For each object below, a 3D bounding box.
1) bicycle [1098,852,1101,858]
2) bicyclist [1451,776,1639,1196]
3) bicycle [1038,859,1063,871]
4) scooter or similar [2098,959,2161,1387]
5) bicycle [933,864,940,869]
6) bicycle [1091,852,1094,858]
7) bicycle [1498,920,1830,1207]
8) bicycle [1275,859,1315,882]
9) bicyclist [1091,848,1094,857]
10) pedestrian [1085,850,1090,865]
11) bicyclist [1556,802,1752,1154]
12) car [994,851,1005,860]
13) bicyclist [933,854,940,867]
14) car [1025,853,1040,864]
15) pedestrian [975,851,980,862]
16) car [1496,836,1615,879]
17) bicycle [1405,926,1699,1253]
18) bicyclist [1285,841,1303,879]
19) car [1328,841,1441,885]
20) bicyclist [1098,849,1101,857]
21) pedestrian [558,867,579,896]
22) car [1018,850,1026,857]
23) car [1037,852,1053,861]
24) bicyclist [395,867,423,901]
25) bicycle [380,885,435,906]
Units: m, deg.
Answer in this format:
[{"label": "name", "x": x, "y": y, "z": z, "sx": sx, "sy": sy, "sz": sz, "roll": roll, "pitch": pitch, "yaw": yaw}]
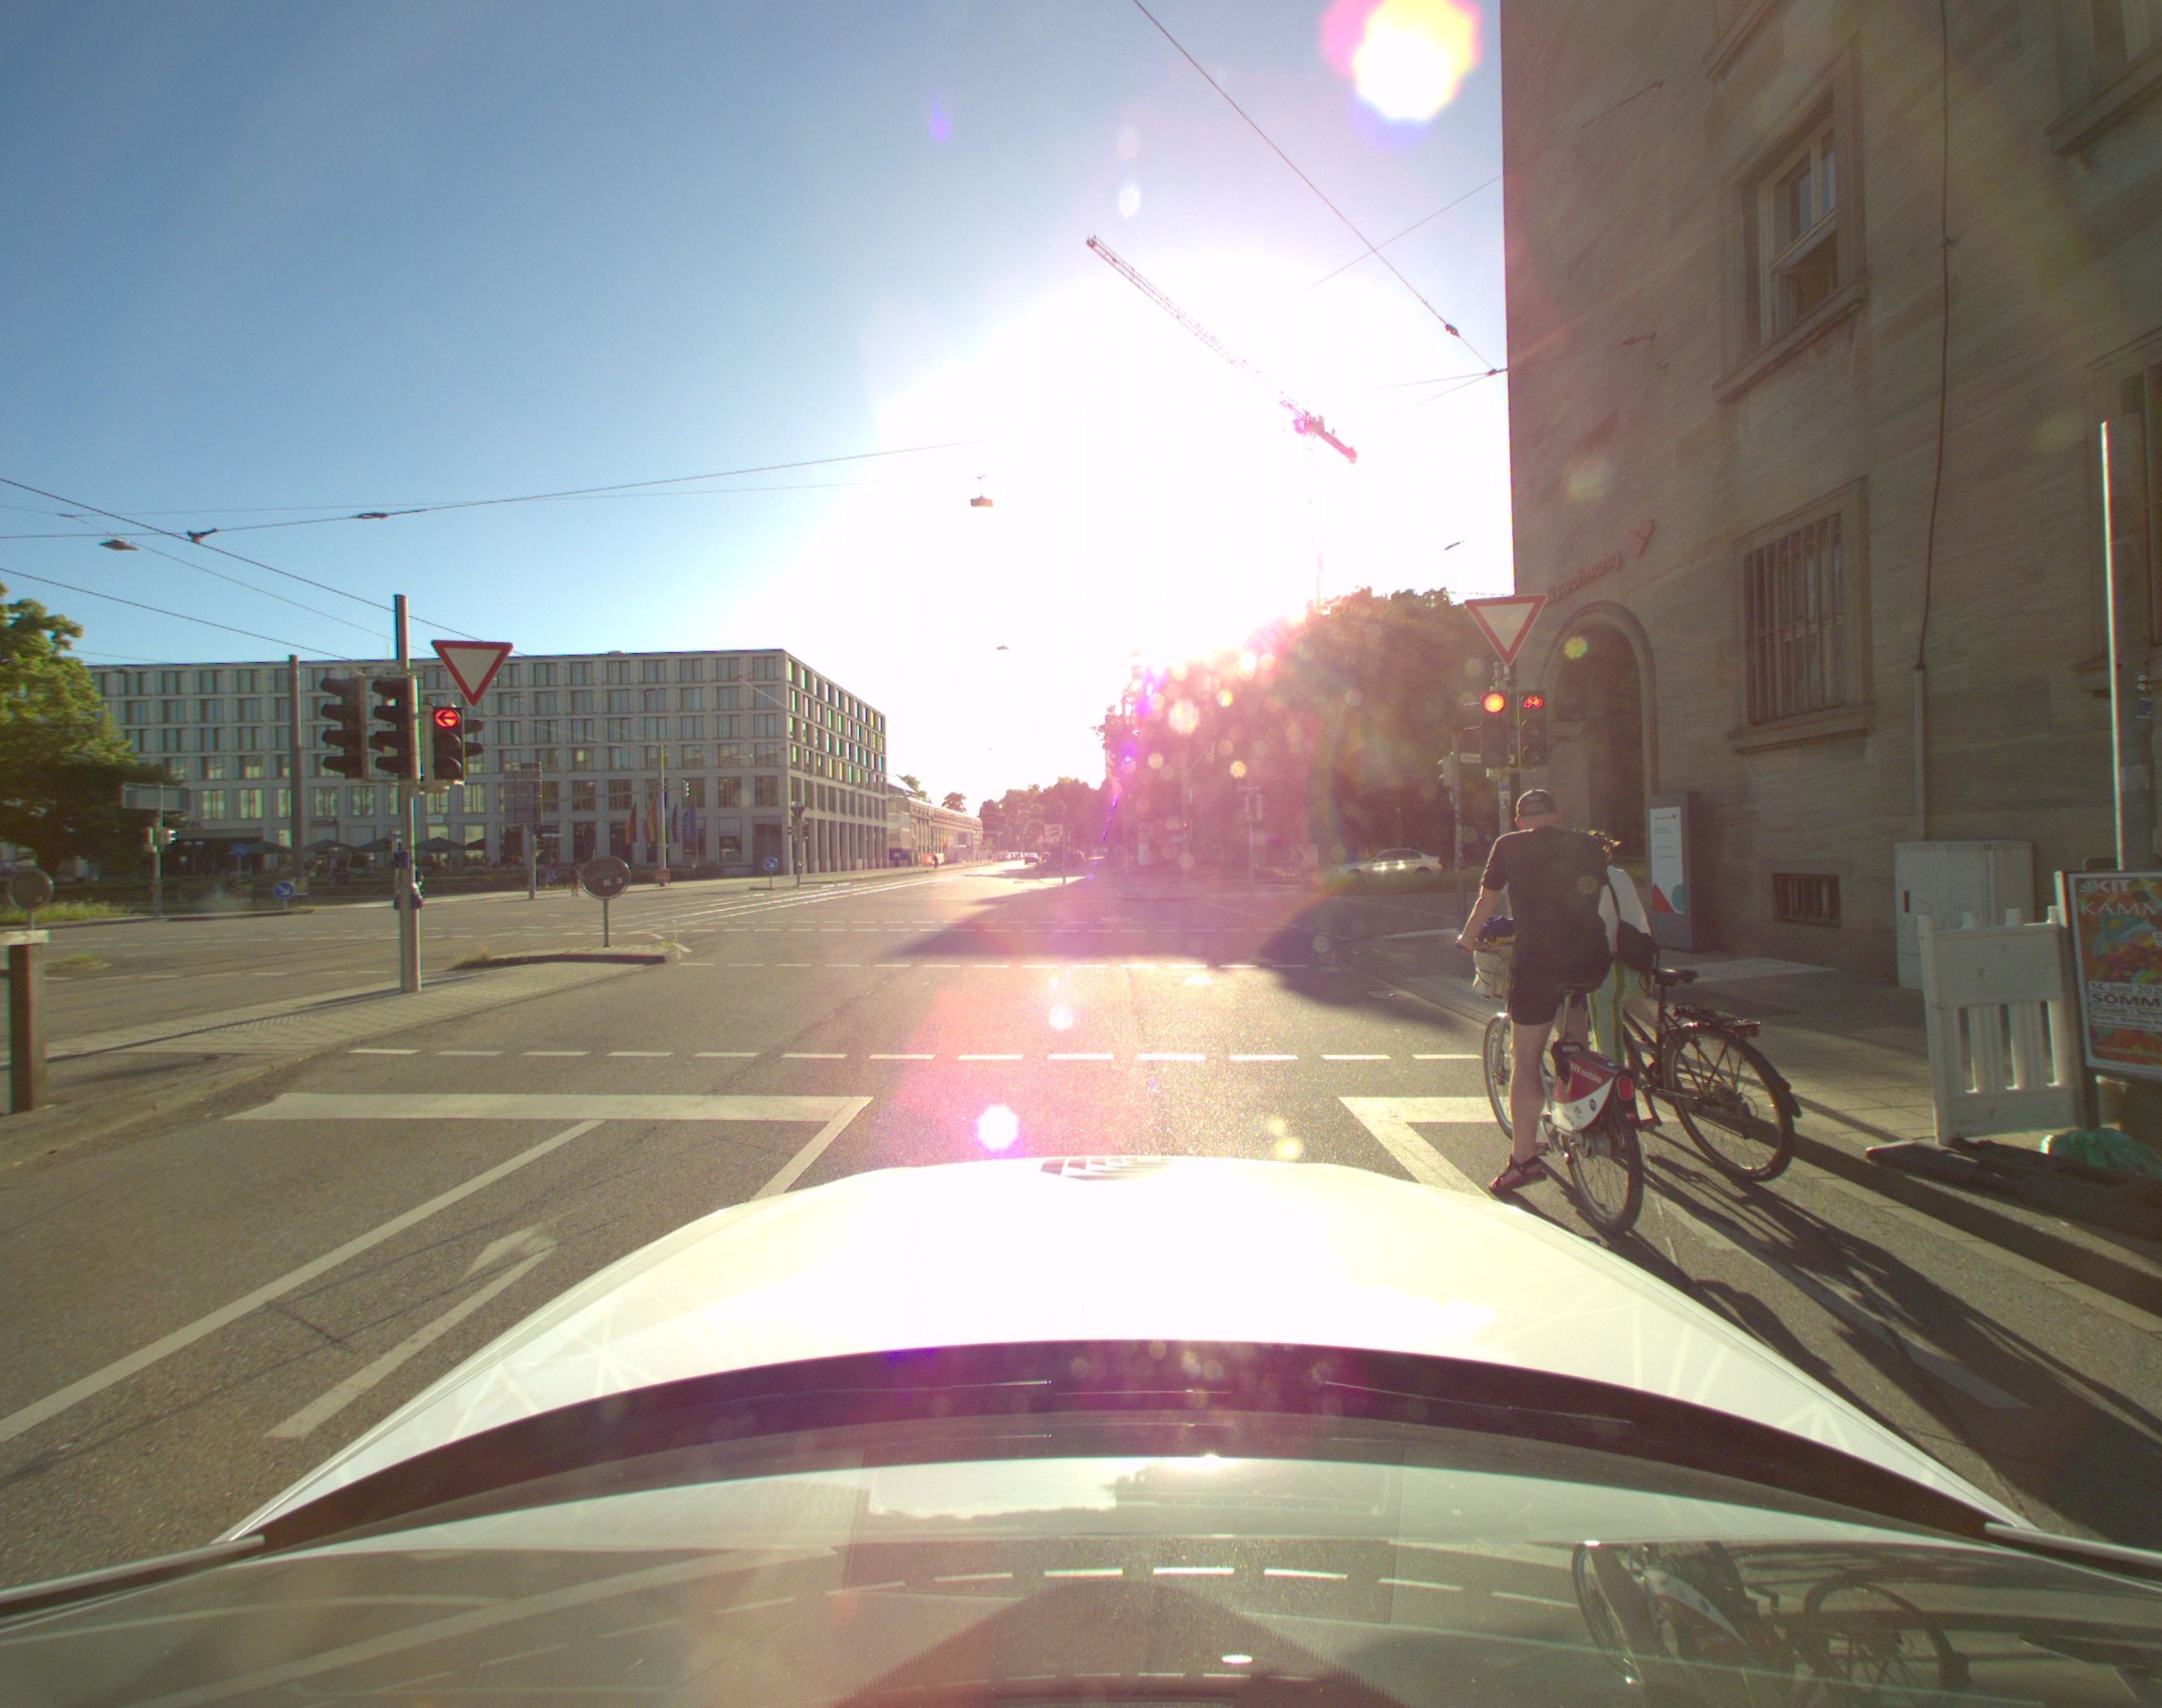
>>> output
[{"label": "bicycle", "x": 3.533, "y": 0.221, "z": 157.245, "sx": 0.573, "sy": 1.077, "sz": 1.831, "roll": -2, "pitch": 0, "yaw": 1}, {"label": "bicyclist", "x": 2.120, "y": 0.566, "z": 3.781, "sx": 0.556, "sy": 1.799, "sz": 0.551, "roll": -1, "pitch": 0, "yaw": 3}, {"label": "bicycle", "x": -2.570, "y": 0.907, "z": 67.706, "sx": 1.996, "sy": 0.891, "sz": 0.655, "roll": -4, "pitch": -1, "yaw": 29}, {"label": "scooter or similar", "x": 3.283, "y": 0.902, "z": 1.744, "sx": 0.533, "sy": 1.185, "sz": 1.328, "roll": -2, "pitch": 0, "yaw": 1}, {"label": "bicycle", "x": -15.392, "y": 1.325, "z": 86.680, "sx": 0.499, "sy": 0.515, "sz": 1.258, "roll": 0, "pitch": -1, "yaw": 1}, {"label": "bicycle", "x": 2.215, "y": 0.231, "z": 157.165, "sx": 0.573, "sy": 1.077, "sz": 1.831, "roll": -2, "pitch": 0, "yaw": 1}, {"label": "bicycle", "x": 2.939, "y": 0.963, "z": 4.355, "sx": 0.532, "sy": 1.077, "sz": 1.751, "roll": -1, "pitch": 0, "yaw": 1}, {"label": "bicycle", "x": 9.515, "y": 0.740, "z": 36.232, "sx": 1.657, "sy": 0.963, "sz": 0.535, "roll": -2, "pitch": 0, "yaw": 7}, {"label": "bicyclist", "x": 2.199, "y": -0.264, "z": 157.206, "sx": 0.567, "sy": 1.691, "sz": 0.700, "roll": -2, "pitch": 0, "yaw": 1}, {"label": "pedestrian", "x": 0.782, "y": 0.394, "z": 97.918, "sx": 0.462, "sy": 1.813, "sz": 0.502, "roll": -2, "pitch": 0, "yaw": -3}, {"label": "bicyclist", "x": 2.951, "y": 0.597, "z": 4.248, "sx": 0.556, "sy": 1.691, "sz": 0.640, "roll": -1, "pitch": 0, "yaw": 0}, {"label": "car", "x": -15.660, "y": 0.260, "z": 157.076, "sx": 1.688, "sy": 1.718, "sz": 4.245, "roll": 0, "pitch": -1, "yaw": -1}, {"label": "bicyclist", "x": -15.403, "y": 0.698, "z": 86.689, "sx": 0.594, "sy": 1.377, "sz": 0.637, "roll": 0, "pitch": -1, "yaw": 0}, {"label": "car", "x": -6.406, "y": 0.597, "z": 108.146, "sx": 1.655, "sy": 1.455, "sz": 4.431, "roll": -1, "pitch": 0, "yaw": 0}, {"label": "pedestrian", "x": -18.831, "y": 0.412, "z": 148.255, "sx": 0.672, "sy": 2.014, "sz": 0.751, "roll": 0, "pitch": -1, "yaw": -1}, {"label": "car", "x": 19.216, "y": 0.131, "z": 33.091, "sx": 3.835, "sy": 1.611, "sz": 1.650, "roll": -2, "pitch": 0, "yaw": 1}, {"label": "bicycle", "x": 2.118, "y": 0.963, "z": 3.939, "sx": 0.513, "sy": 1.077, "sz": 1.729, "roll": -1, "pitch": 0, "yaw": 4}, {"label": "bicyclist", "x": 9.473, "y": 0.271, "z": 36.233, "sx": 0.640, "sy": 1.683, "sz": 0.508, "roll": -2, "pitch": 0, "yaw": 7}, {"label": "car", "x": 12.345, "y": 0.355, "z": 33.257, "sx": 3.979, "sy": 1.611, "sz": 1.650, "roll": -2, "pitch": 0, "yaw": 1}, {"label": "bicyclist", "x": 3.521, "y": -0.203, "z": 157.247, "sx": 0.567, "sy": 1.691, "sz": 0.700, "roll": -2, "pitch": 0, "yaw": 1}, {"label": "pedestrian", "x": -28.667, "y": 1.545, "z": 45.592, "sx": 0.774, "sy": 1.589, "sz": 0.589, "roll": -2, "pitch": 0, "yaw": -8}, {"label": "car", "x": -14.228, "y": -0.125, "z": 195.325, "sx": 1.688, "sy": 1.718, "sz": 4.245, "roll": 0, "pitch": -1, "yaw": -1}, {"label": "car", "x": -6.065, "y": 0.413, "z": 137.190, "sx": 1.882, "sy": 1.565, "sz": 4.815, "roll": 1, "pitch": 0, "yaw": 6}, {"label": "bicyclist", "x": -32.694, "y": 1.455, "z": 39.599, "sx": 0.752, "sy": 1.589, "sz": 0.782, "roll": -2, "pitch": 0, "yaw": 26}, {"label": "bicycle", "x": -32.698, "y": 2.009, "z": 39.571, "sx": 0.753, "sy": 0.935, "sz": 1.874, "roll": -2, "pitch": 0, "yaw": 23}]
